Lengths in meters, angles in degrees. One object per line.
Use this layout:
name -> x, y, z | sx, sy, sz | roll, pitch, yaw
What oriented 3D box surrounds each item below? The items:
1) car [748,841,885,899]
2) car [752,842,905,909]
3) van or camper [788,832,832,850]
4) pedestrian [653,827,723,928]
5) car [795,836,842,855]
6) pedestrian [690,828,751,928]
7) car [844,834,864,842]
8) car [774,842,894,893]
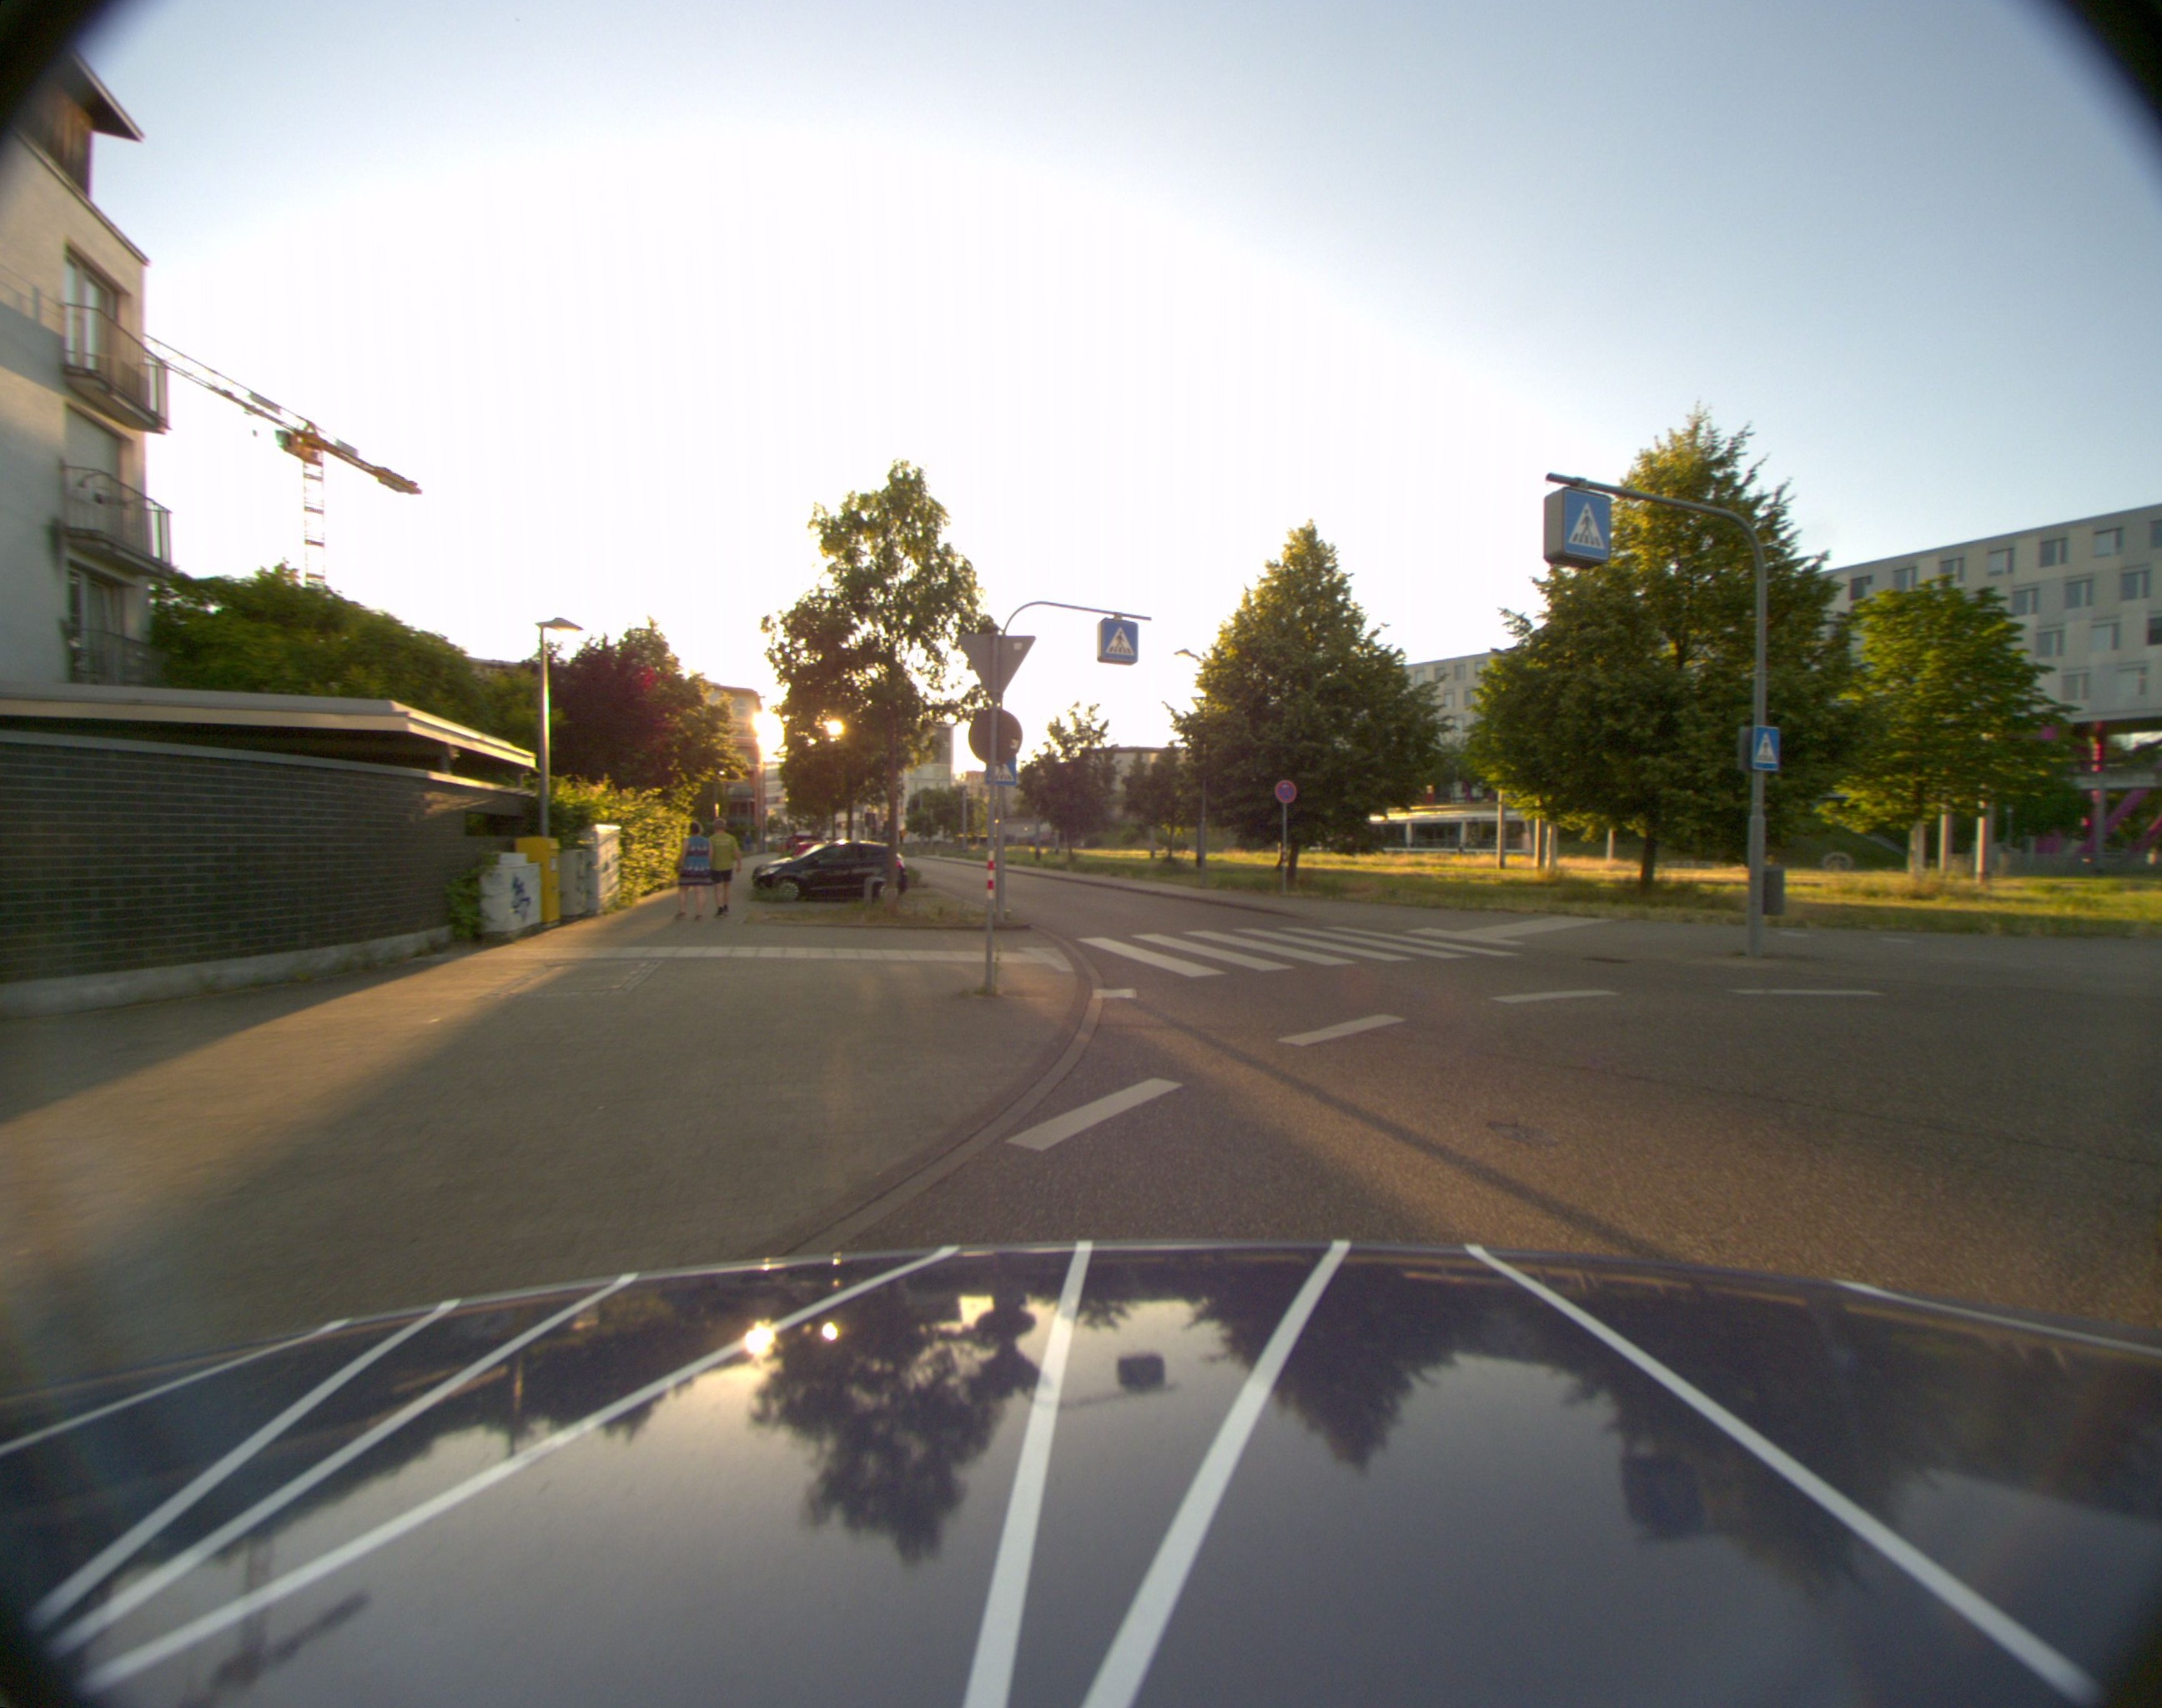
car -> -7.244, 0.400, 20.881 | 3.414, 1.492, 1.591 | 0, 2, -22
car -> -6.174, 0.480, 18.622 | 3.414, 1.513, 1.687 | 0, 2, -22
van or camper -> -26.271, -1.268, 73.540 | 3.884, 1.685, 1.830 | -1, 2, -23
pedestrian -> -6.473, 0.383, 12.528 | 0.711, 1.590, 0.658 | 3, 0, 28
car -> -24.575, -0.831, 71.147 | 3.885, 1.685, 1.699 | -1, 2, -27
pedestrian -> -6.247, 0.390, 13.167 | 0.741, 1.658, 0.625 | 3, 3, 28
car -> -47.649, -3.354, 159.424 | 3.884, 1.604, 1.699 | -1, 2, -24
car -> -7.602, 0.387, 23.389 | 3.414, 1.492, 1.591 | 0, 2, -22
